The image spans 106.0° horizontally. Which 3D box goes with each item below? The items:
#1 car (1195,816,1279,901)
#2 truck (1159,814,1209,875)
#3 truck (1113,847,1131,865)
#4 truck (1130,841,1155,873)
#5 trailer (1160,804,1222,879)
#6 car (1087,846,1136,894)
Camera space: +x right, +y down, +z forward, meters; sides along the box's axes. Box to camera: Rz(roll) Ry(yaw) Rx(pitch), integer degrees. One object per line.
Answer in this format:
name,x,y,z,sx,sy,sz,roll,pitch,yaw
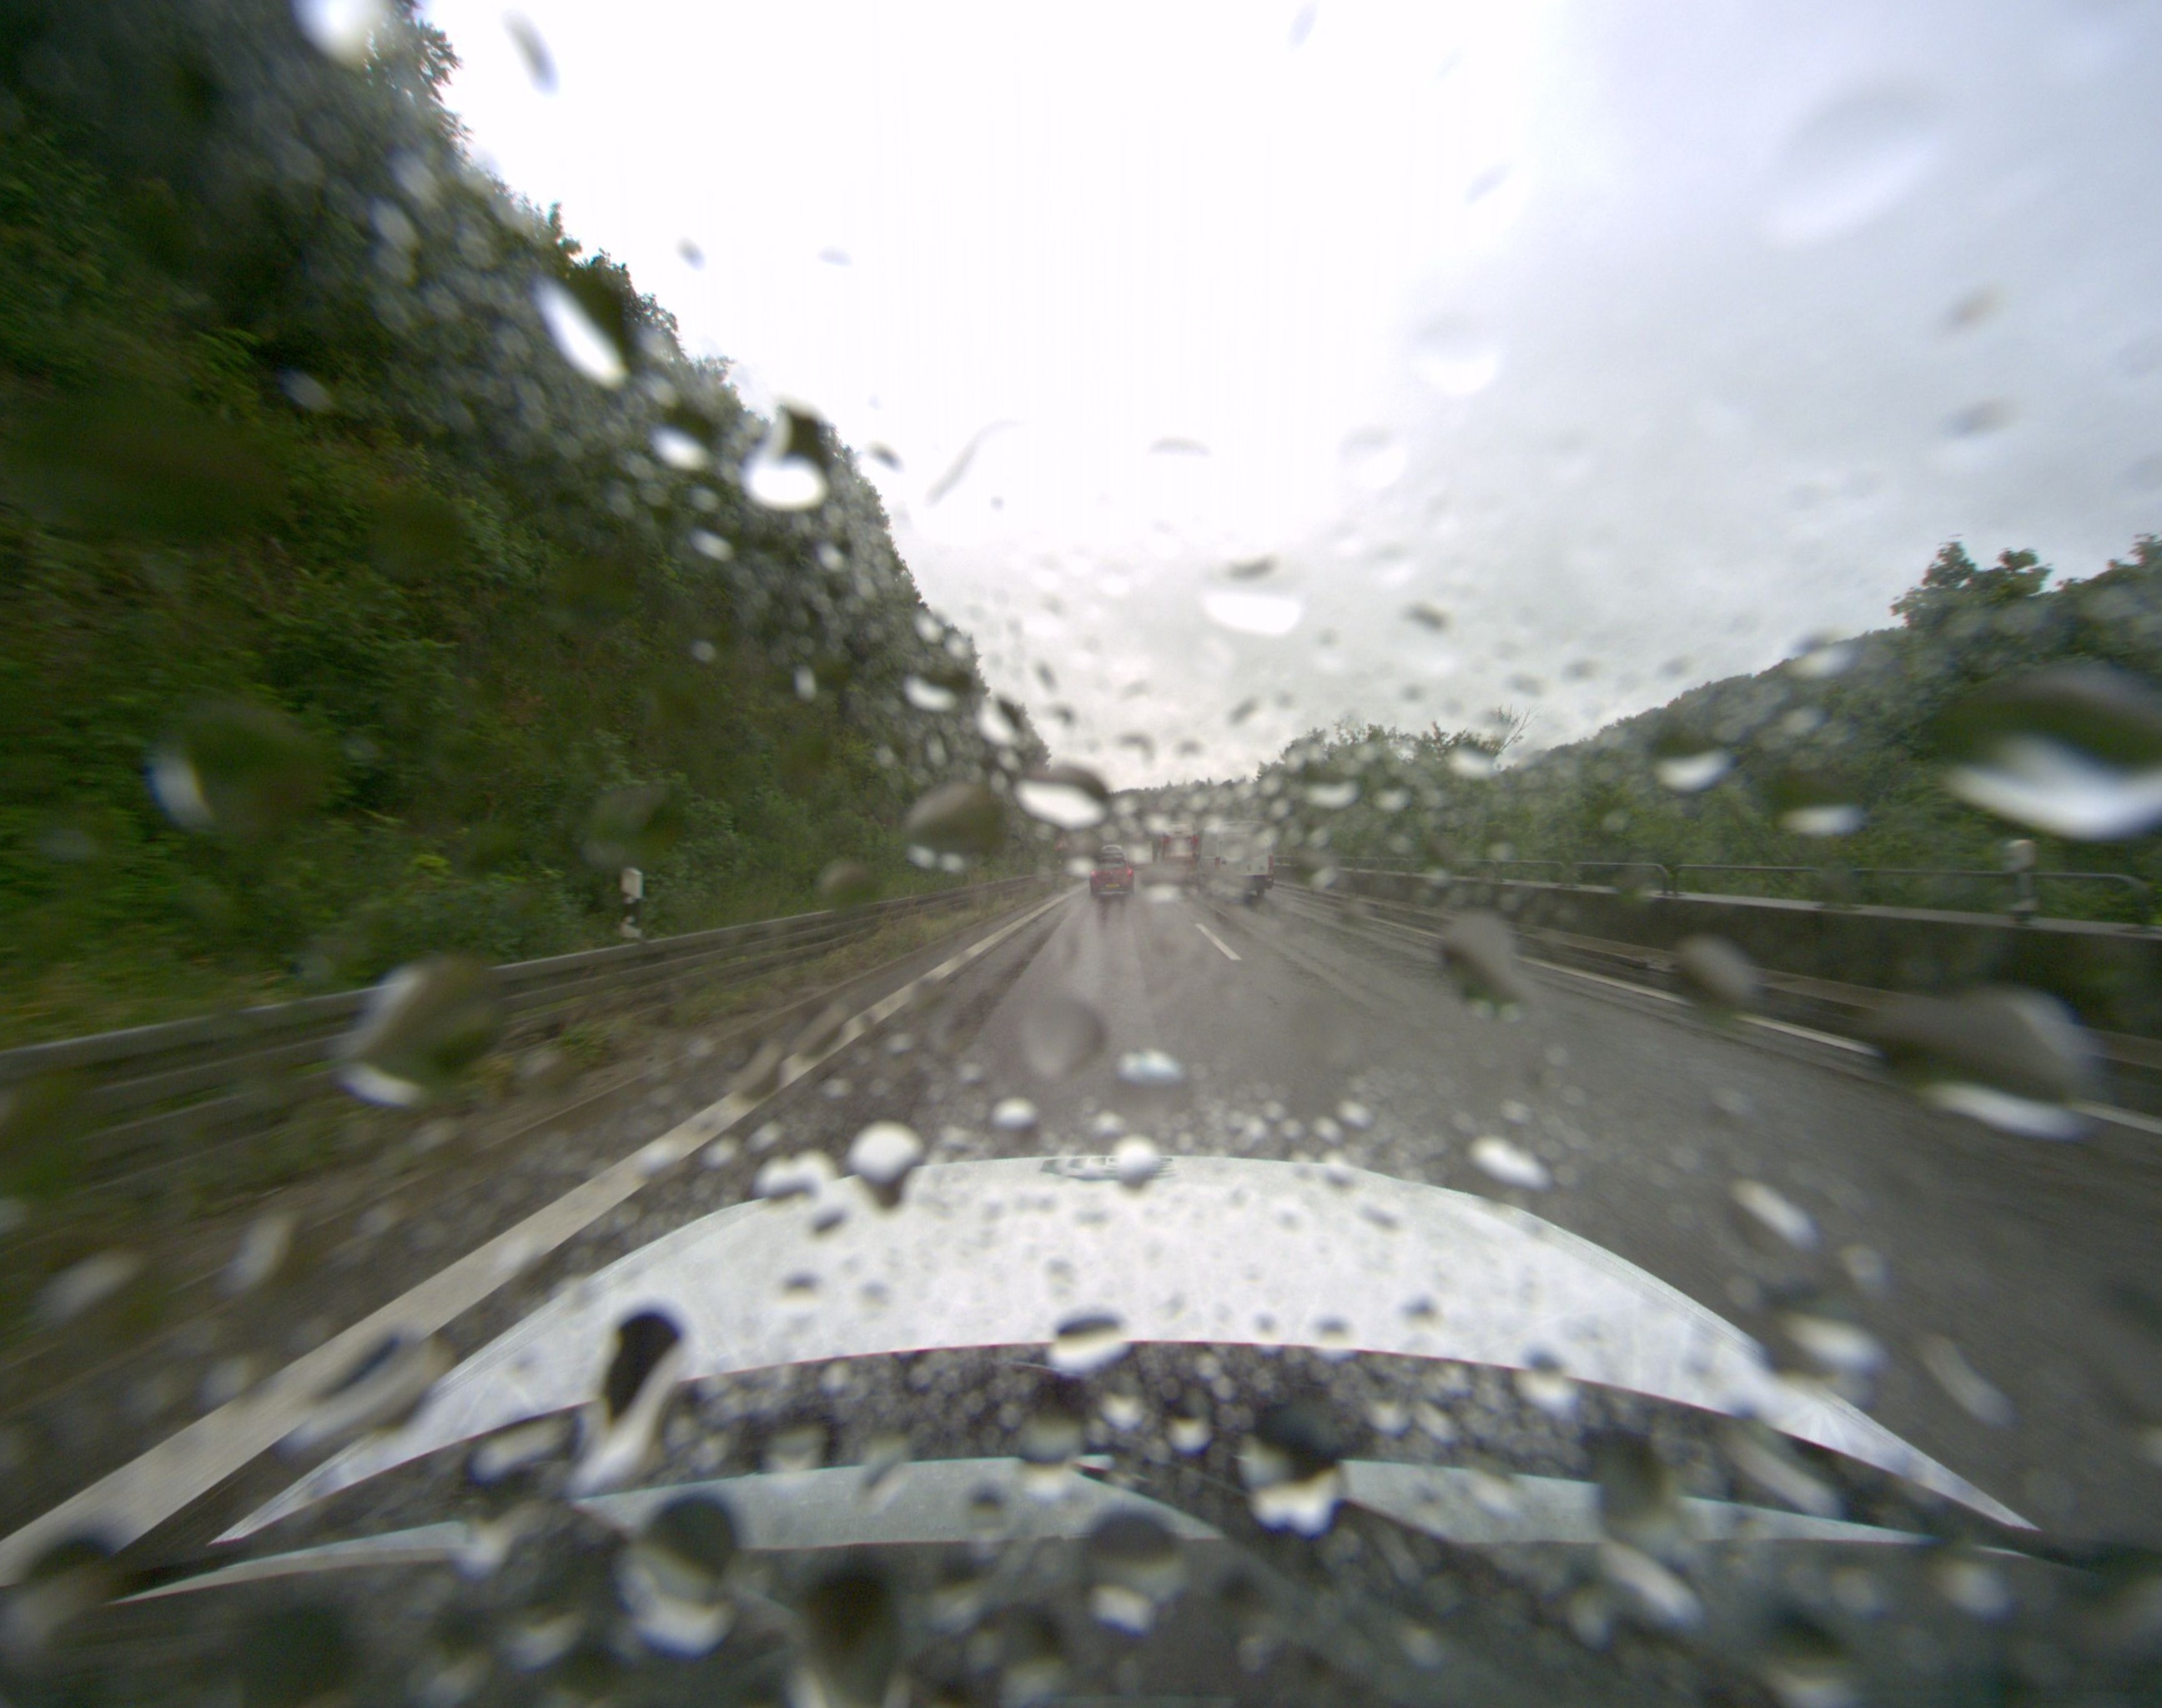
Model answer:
car,5.648,0.172,30.455,2.196,2.794,7.390,0,0,4
truck,7.220,-0.631,57.714,3.204,3.978,5.446,-2,0,5
truck,7.682,0.407,153.398,3.050,3.312,8.074,-1,0,2
truck,8.619,0.433,115.567,2.678,4.094,9.315,-4,-1,1
trailer,6.625,-0.643,51.039,3.203,3.999,13.543,-2,0,5
car,1.259,0.610,32.858,1.751,1.684,4.003,-4,-1,3
